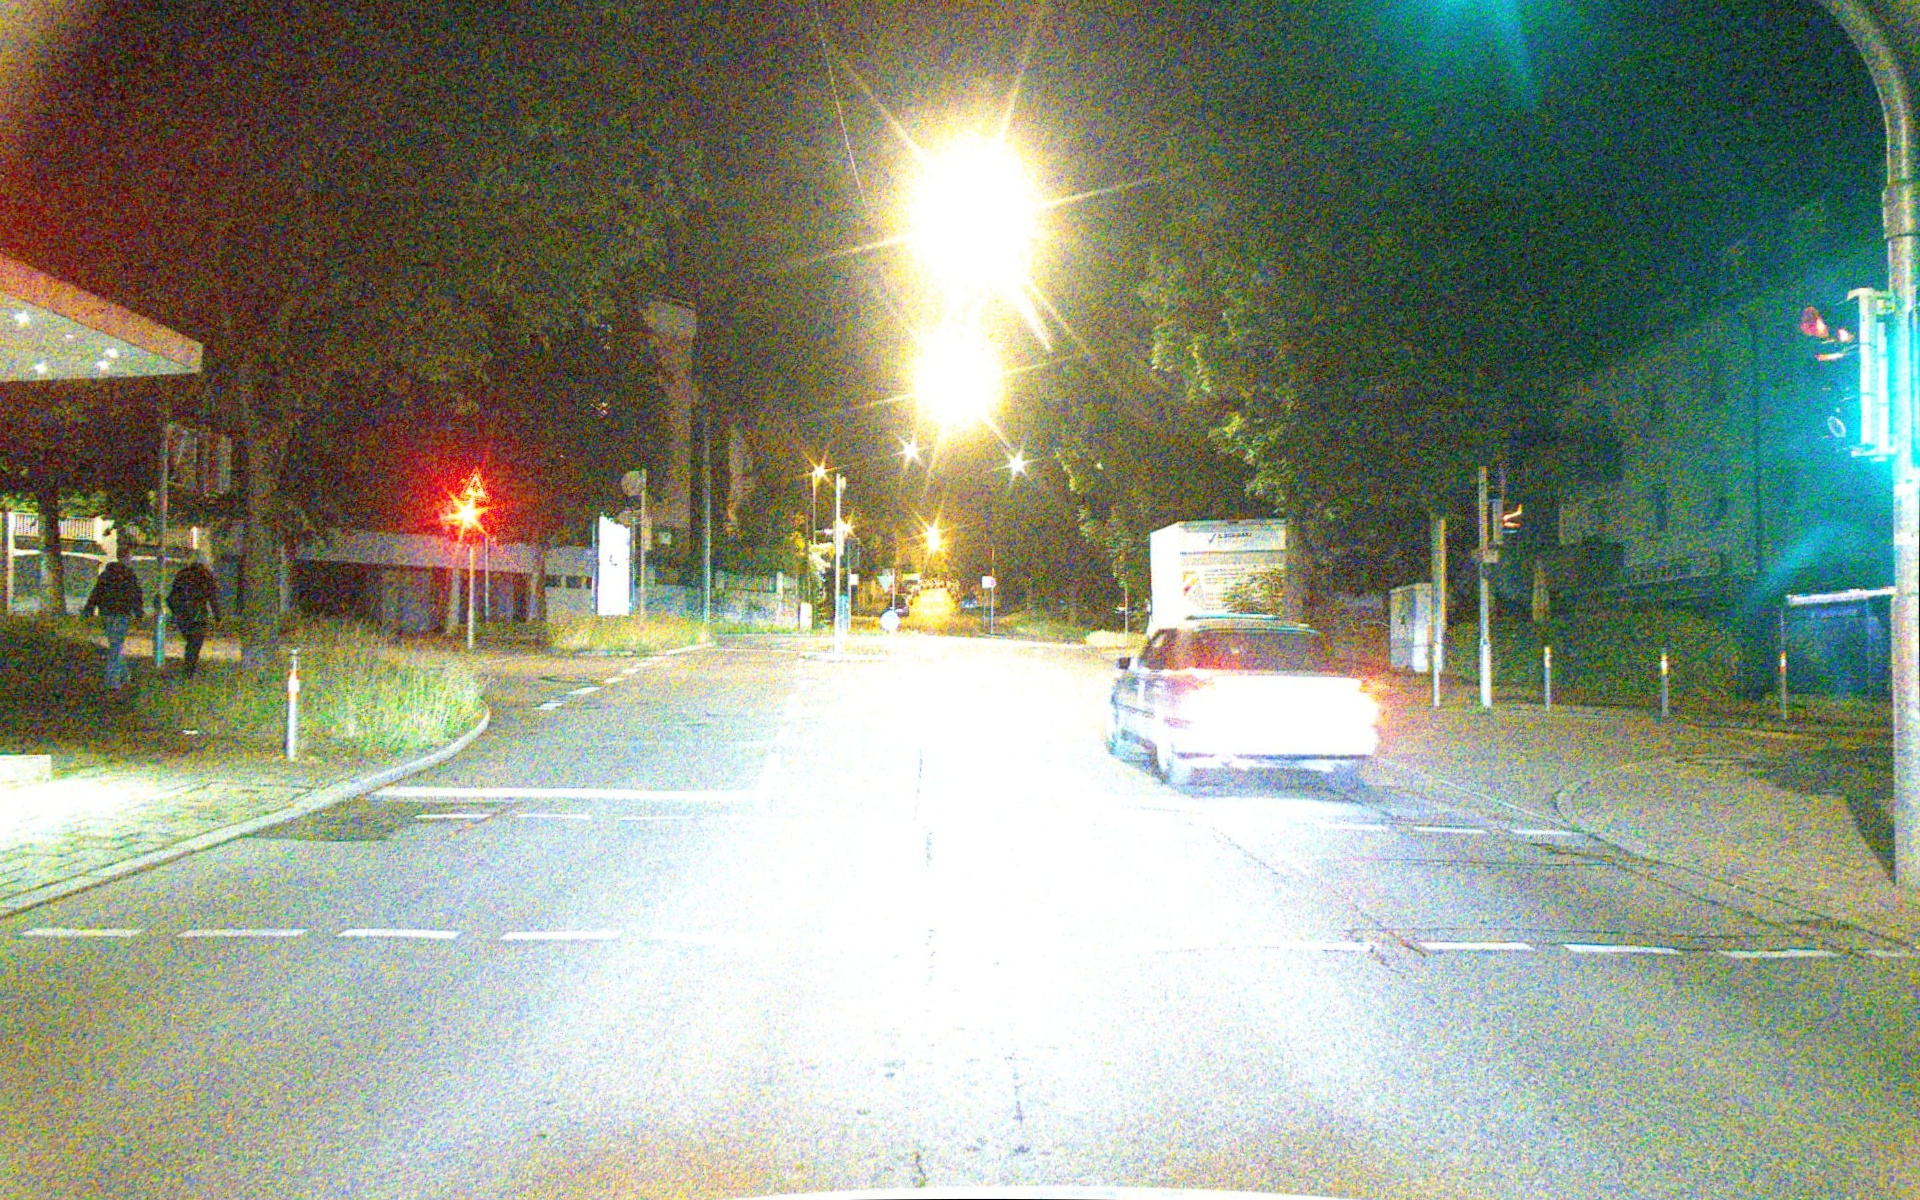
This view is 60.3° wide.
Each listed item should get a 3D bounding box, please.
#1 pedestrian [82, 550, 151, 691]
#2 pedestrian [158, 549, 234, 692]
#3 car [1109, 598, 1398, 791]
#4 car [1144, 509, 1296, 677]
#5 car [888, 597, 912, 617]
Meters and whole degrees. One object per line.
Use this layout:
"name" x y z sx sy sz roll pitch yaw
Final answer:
"pedestrian" -10.663 0.257 20.922 0.558 1.761 0.543 1 -1 -1
"pedestrian" -9.907 0.262 21.458 0.558 1.808 0.737 3 -1 -1
"car" 2.525 0.766 15.173 1.740 1.512 3.997 1 0 -3
"car" 5.252 -0.119 34.305 2.249 3.147 5.840 -1 0 1
"car" -4.846 0.537 134.260 1.869 1.585 3.903 1 0 -1
